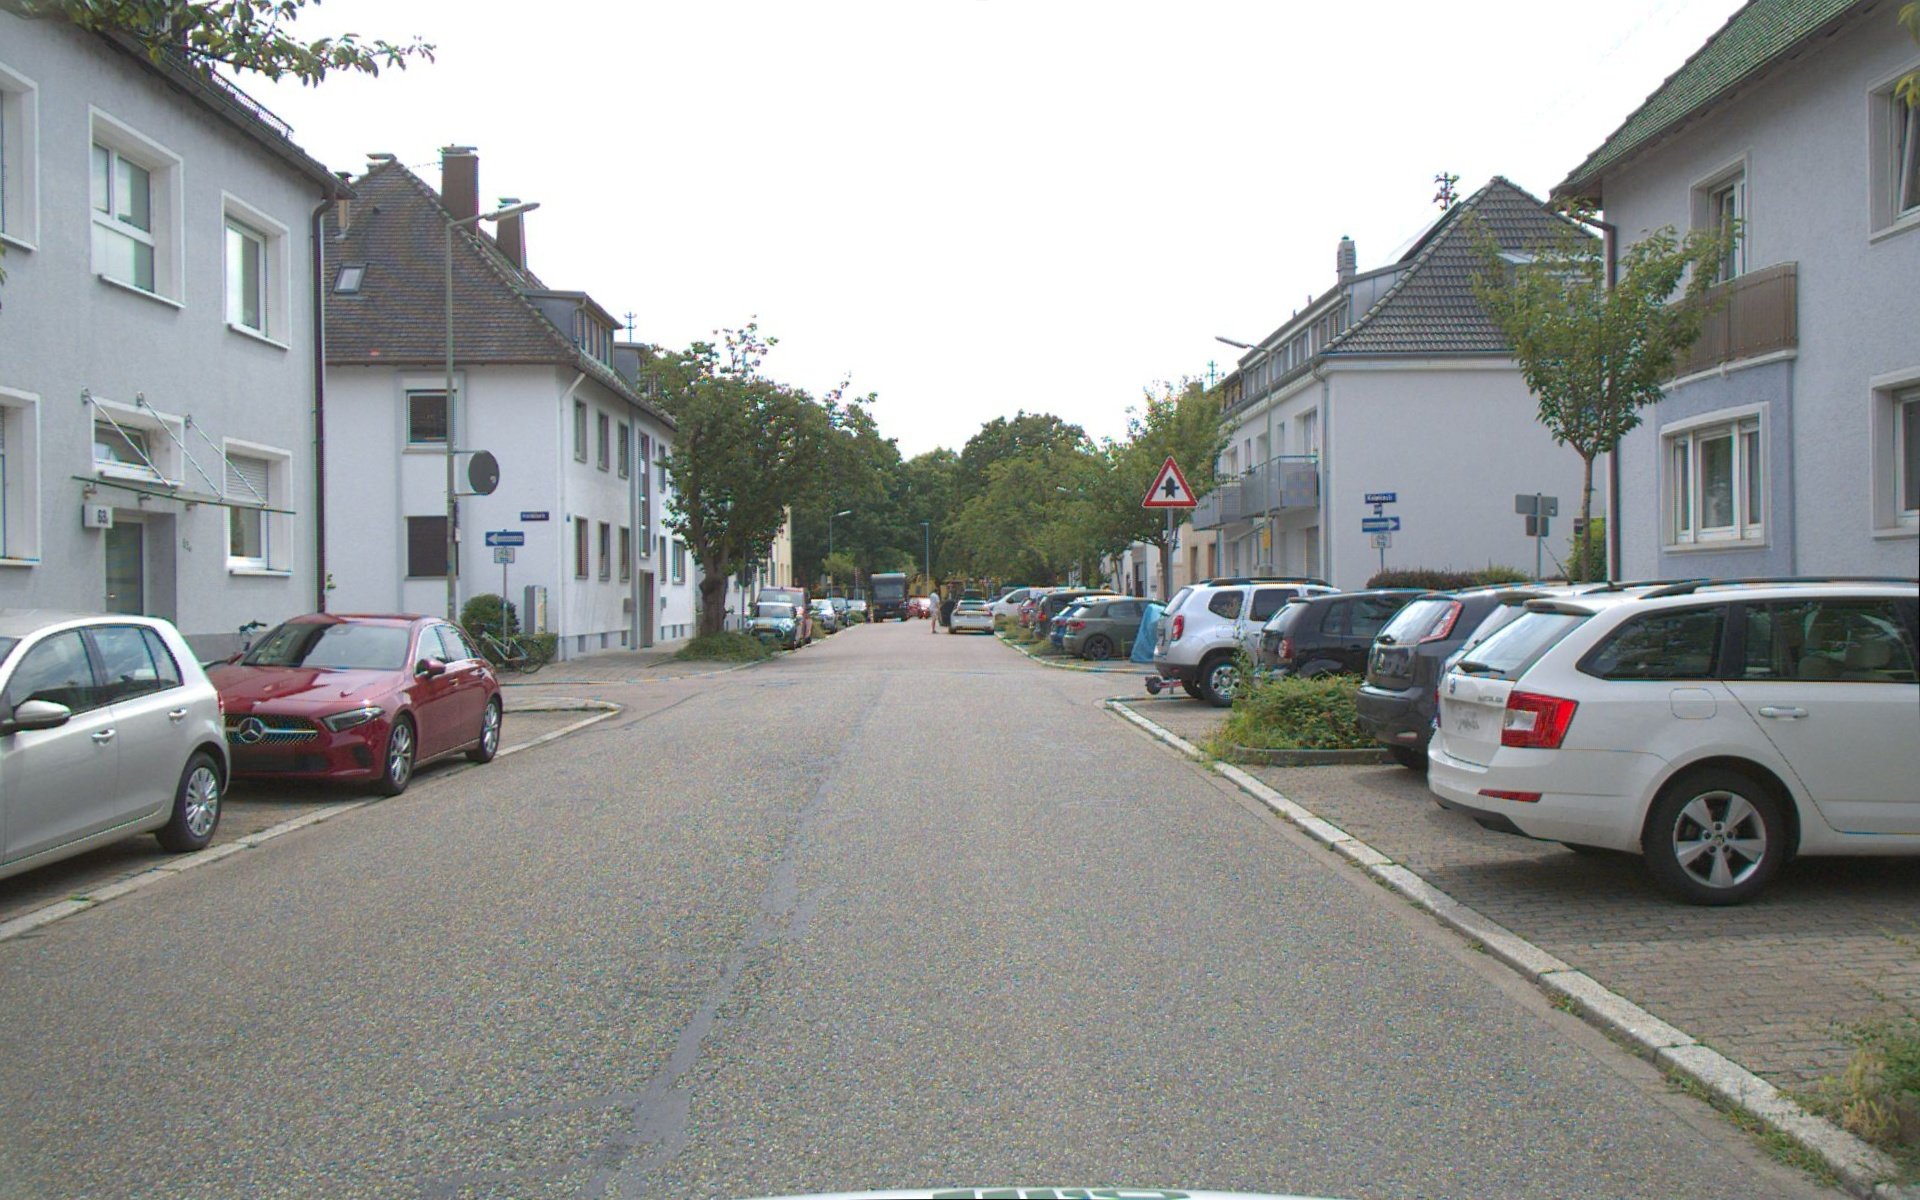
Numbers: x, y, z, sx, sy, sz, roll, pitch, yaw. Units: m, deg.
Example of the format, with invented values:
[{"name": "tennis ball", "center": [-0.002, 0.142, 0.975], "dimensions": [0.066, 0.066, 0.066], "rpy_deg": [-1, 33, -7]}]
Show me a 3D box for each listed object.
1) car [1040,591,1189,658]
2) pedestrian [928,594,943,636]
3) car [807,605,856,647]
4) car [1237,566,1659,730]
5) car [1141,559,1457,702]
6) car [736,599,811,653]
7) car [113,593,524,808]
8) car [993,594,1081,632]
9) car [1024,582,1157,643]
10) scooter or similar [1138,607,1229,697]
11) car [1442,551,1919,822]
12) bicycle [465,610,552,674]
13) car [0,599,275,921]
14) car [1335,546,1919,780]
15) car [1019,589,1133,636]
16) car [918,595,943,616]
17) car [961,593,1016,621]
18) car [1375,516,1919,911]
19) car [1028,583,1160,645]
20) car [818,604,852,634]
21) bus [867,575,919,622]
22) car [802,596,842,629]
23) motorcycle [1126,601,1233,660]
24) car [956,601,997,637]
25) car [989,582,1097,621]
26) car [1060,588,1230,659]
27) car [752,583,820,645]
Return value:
[{"name": "car", "center": [3.770, 0.588, 40.652], "dimensions": [3.446, 1.437, 1.558], "rpy_deg": [-3, 0, -1]}, {"name": "pedestrian", "center": [-1.016, 0.613, 69.251], "dimensions": [0.511, 1.734, 0.445], "rpy_deg": [-3, 0, 3]}, {"name": "car", "center": [-5.014, 1.000, 64.899], "dimensions": [1.618, 1.487, 3.551], "rpy_deg": [-3, 0, -1]}, {"name": "car", "center": [5.064, 0.482, 17.508], "dimensions": [3.906, 1.446, 1.712], "rpy_deg": [-3, 0, -1]}, {"name": "car", "center": [4.507, 0.399, 22.419], "dimensions": [3.843, 1.661, 1.868], "rpy_deg": [-3, 0, 0]}, {"name": "car", "center": [-5.915, 0.804, 52.760], "dimensions": [1.727, 1.581, 3.732], "rpy_deg": [-3, 0, 3]}, {"name": "car", "center": [-5.383, 0.747, 14.599], "dimensions": [1.839, 1.512, 4.511], "rpy_deg": [-3, 0, -1]}, {"name": "car", "center": [3.510, 0.597, 76.177], "dimensions": [3.906, 1.545, 1.722], "rpy_deg": [-3, 0, -1]}, {"name": "car", "center": [4.010, 0.380, 51.132], "dimensions": [3.906, 1.646, 1.867], "rpy_deg": [-3, 0, 0]}, {"name": "scooter or similar", "center": [3.342, 0.773, 24.749], "dimensions": [1.218, 1.265, 0.420], "rpy_deg": [-3, 0, -14]}, {"name": "car", "center": [5.453, 0.493, 11.054], "dimensions": [3.906, 1.534, 1.712], "rpy_deg": [-3, 0, -1]}, {"name": "bicycle", "center": [-9.216, 0.856, 33.776], "dimensions": [1.602, 1.199, 0.434], "rpy_deg": [-3, 0, -5]}, {"name": "car", "center": [-5.465, 0.775, 8.822], "dimensions": [1.736, 1.416, 4.275], "rpy_deg": [5, 0, 0]}, {"name": "car", "center": [5.169, 0.465, 13.168], "dimensions": [3.906, 1.534, 1.712], "rpy_deg": [-3, 0, -1]}, {"name": "car", "center": [4.123, 0.443, 59.282], "dimensions": [3.906, 1.464, 1.722], "rpy_deg": [-3, 0, -1]}, {"name": "car", "center": [-2.073, 0.391, 116.898], "dimensions": [1.718, 1.365, 4.000], "rpy_deg": [-2, 0, 0]}, {"name": "car", "center": [1.831, 0.453, 107.342], "dimensions": [3.458, 1.630, 1.773], "rpy_deg": [-3, 0, 0]}, {"name": "car", "center": [4.652, 0.448, 8.470], "dimensions": [4.520, 1.693, 1.892], "rpy_deg": [-3, 0, 0]}, {"name": "car", "center": [3.890, 0.411, 48.376], "dimensions": [3.671, 1.591, 1.773], "rpy_deg": [-3, 0, 0]}, {"name": "car", "center": [-6.069, 0.903, 80.865], "dimensions": [1.508, 1.324, 3.719], "rpy_deg": [-3, 0, -3]}, {"name": "bus", "center": [-4.389, -0.097, 109.678], "dimensions": [2.943, 2.809, 8.924], "rpy_deg": [-3, 0, 0]}, {"name": "car", "center": [-6.302, 0.571, 75.801], "dimensions": [1.618, 1.401, 3.719], "rpy_deg": [-3, 0, -3]}, {"name": "motorcycle", "center": [4.709, 0.646, 35.593], "dimensions": [2.149, 1.232, 0.939], "rpy_deg": [-1, 0, -3]}, {"name": "car", "center": [0.700, 0.773, 70.038], "dimensions": [1.653, 1.377, 3.826], "rpy_deg": [-3, 0, 0]}, {"name": "car", "center": [3.906, 0.064, 78.386], "dimensions": [4.876, 1.545, 1.768], "rpy_deg": [-3, 0, -3]}, {"name": "car", "center": [4.208, 0.528, 37.998], "dimensions": [3.671, 1.389, 1.773], "rpy_deg": [-3, 0, 0]}, {"name": "car", "center": [-6.069, 0.477, 58.214], "dimensions": [1.953, 2.049, 4.519], "rpy_deg": [-1, 0, -1]}]
